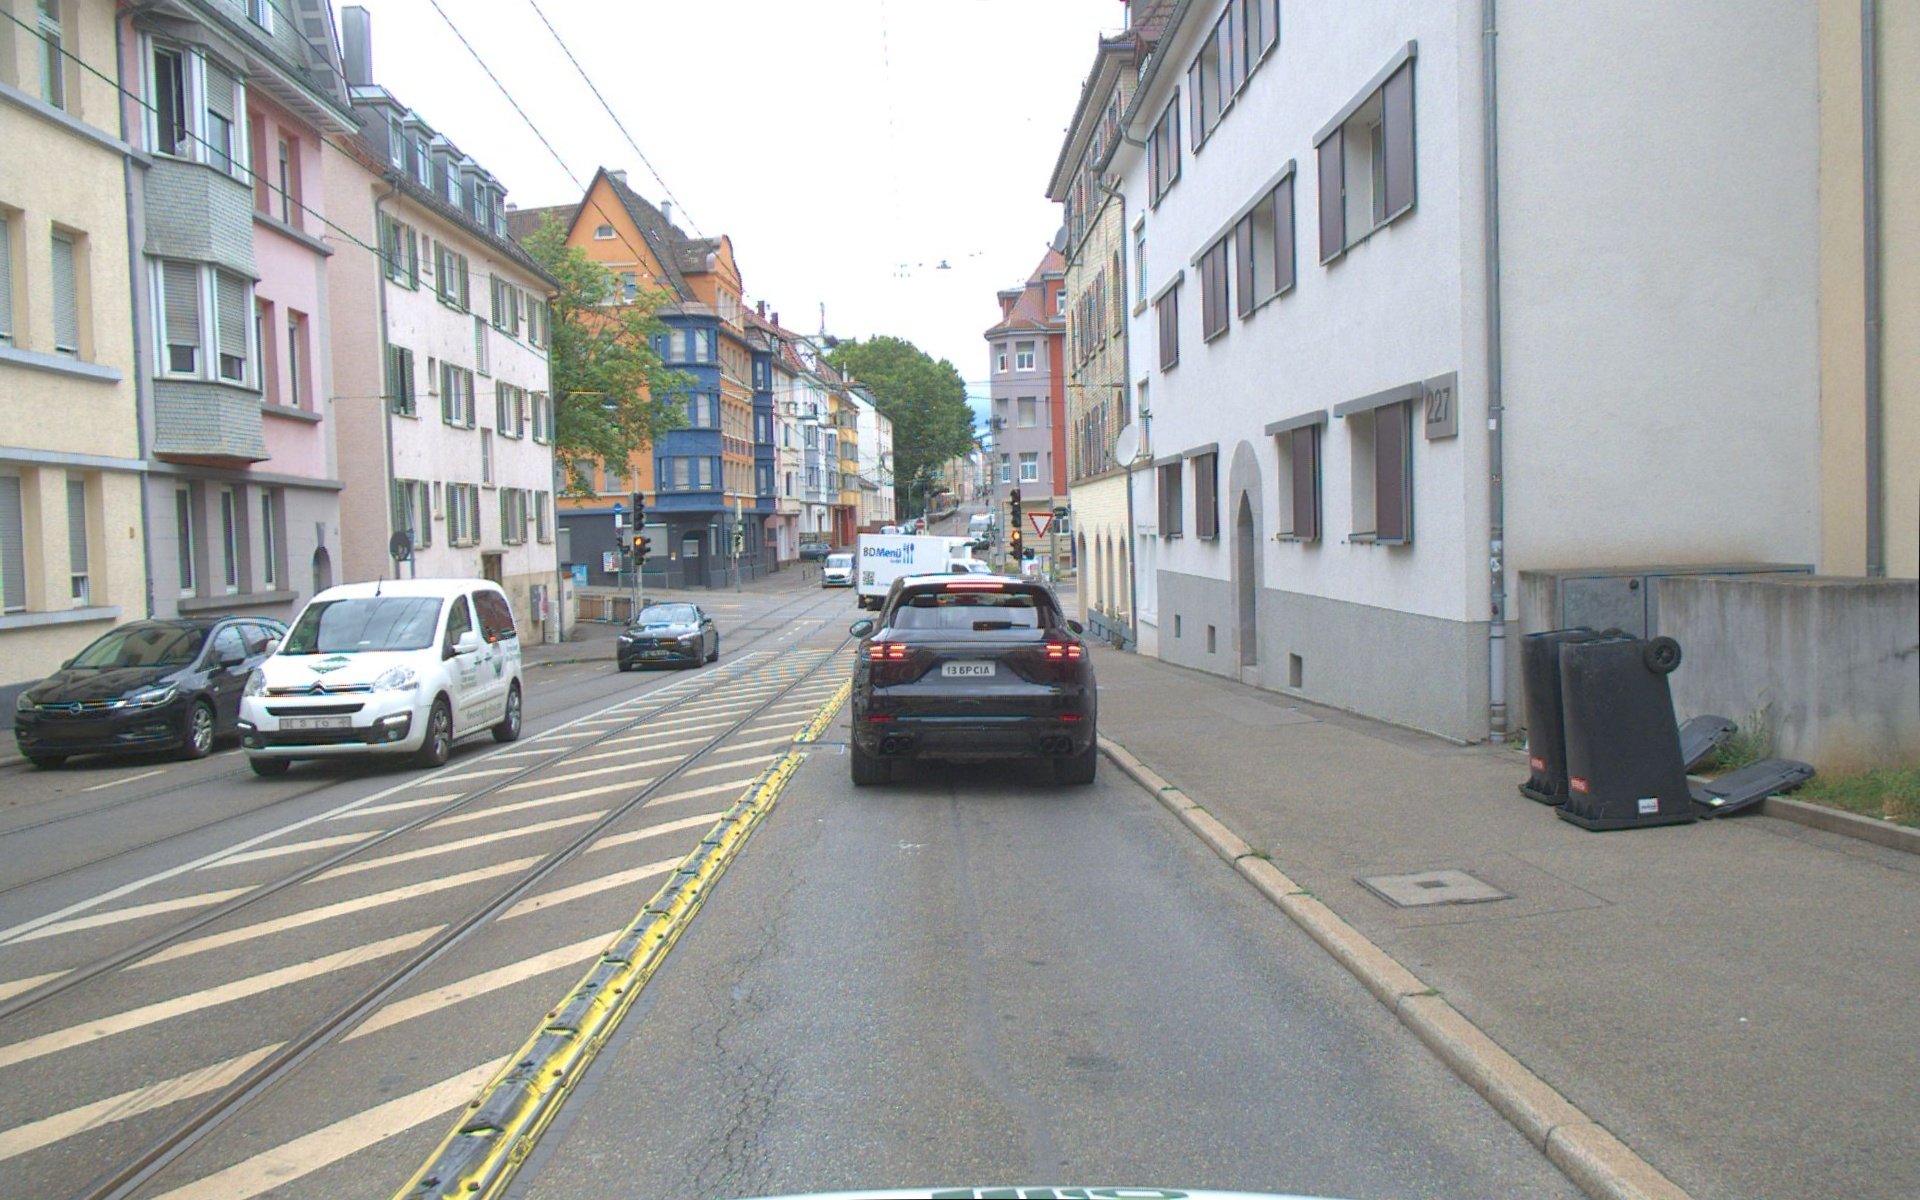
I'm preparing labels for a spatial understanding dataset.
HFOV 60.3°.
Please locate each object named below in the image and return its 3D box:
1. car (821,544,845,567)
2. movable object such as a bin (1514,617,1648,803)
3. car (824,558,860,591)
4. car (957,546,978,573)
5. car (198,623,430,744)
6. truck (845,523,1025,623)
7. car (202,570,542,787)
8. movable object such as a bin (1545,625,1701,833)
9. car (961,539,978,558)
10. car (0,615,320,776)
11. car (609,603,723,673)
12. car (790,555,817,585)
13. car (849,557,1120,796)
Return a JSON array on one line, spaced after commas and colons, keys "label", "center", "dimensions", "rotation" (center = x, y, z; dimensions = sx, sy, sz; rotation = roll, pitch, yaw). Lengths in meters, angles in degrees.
[{"label": "car", "center": [-8.913, -3.114, 116.304], "dimensions": [1.366, 1.476, 3.358], "rotation": [-2, 0, -1]}, {"label": "movable object such as a bin", "center": [3.832, 0.664, 10.239], "dimensions": [0.598, 1.099, 0.541], "rotation": [-2, 0, 0]}, {"label": "car", "center": [-6.722, -1.418, 94.431], "dimensions": [1.715, 1.790, 4.253], "rotation": [-2, 0, -1]}, {"label": "car", "center": [0.510, -2.836, 116.751], "dimensions": [1.366, 1.752, 3.358], "rotation": [-2, 0, -1]}, {"label": "car", "center": [-8.874, 1.088, 23.081], "dimensions": [1.701, 1.434, 3.999], "rotation": [-2, 0, -1]}, {"label": "truck", "center": [-0.946, -0.954, 61.396], "dimensions": [6.255, 3.429, 2.345], "rotation": [-2, 0, 26]}, {"label": "car", "center": [-5.725, 0.689, 16.708], "dimensions": [1.882, 1.850, 4.217], "rotation": [-2, 0, 0]}, {"label": "movable object such as a bin", "center": [3.724, 0.704, 9.327], "dimensions": [0.576, 1.099, 0.692], "rotation": [-2, 0, 1]}, {"label": "car", "center": [0.778, -4.407, 142.106], "dimensions": [1.366, 1.476, 3.358], "rotation": [-2, 0, -1]}, {"label": "car", "center": [-8.790, 0.964, 18.519], "dimensions": [1.588, 1.499, 4.553], "rotation": [-3, -1, -3]}, {"label": "car", "center": [-6.615, 0.815, 37.629], "dimensions": [1.882, 1.449, 4.496], "rotation": [-2, 0, -2]}, {"label": "car", "center": [-9.760, -1.870, 103.416], "dimensions": [1.366, 1.752, 3.358], "rotation": [-2, 0, -1]}, {"label": "car", "center": [0.130, 0.564, 14.217], "dimensions": [1.953, 1.705, 3.999], "rotation": [-2, 0, -2]}]
